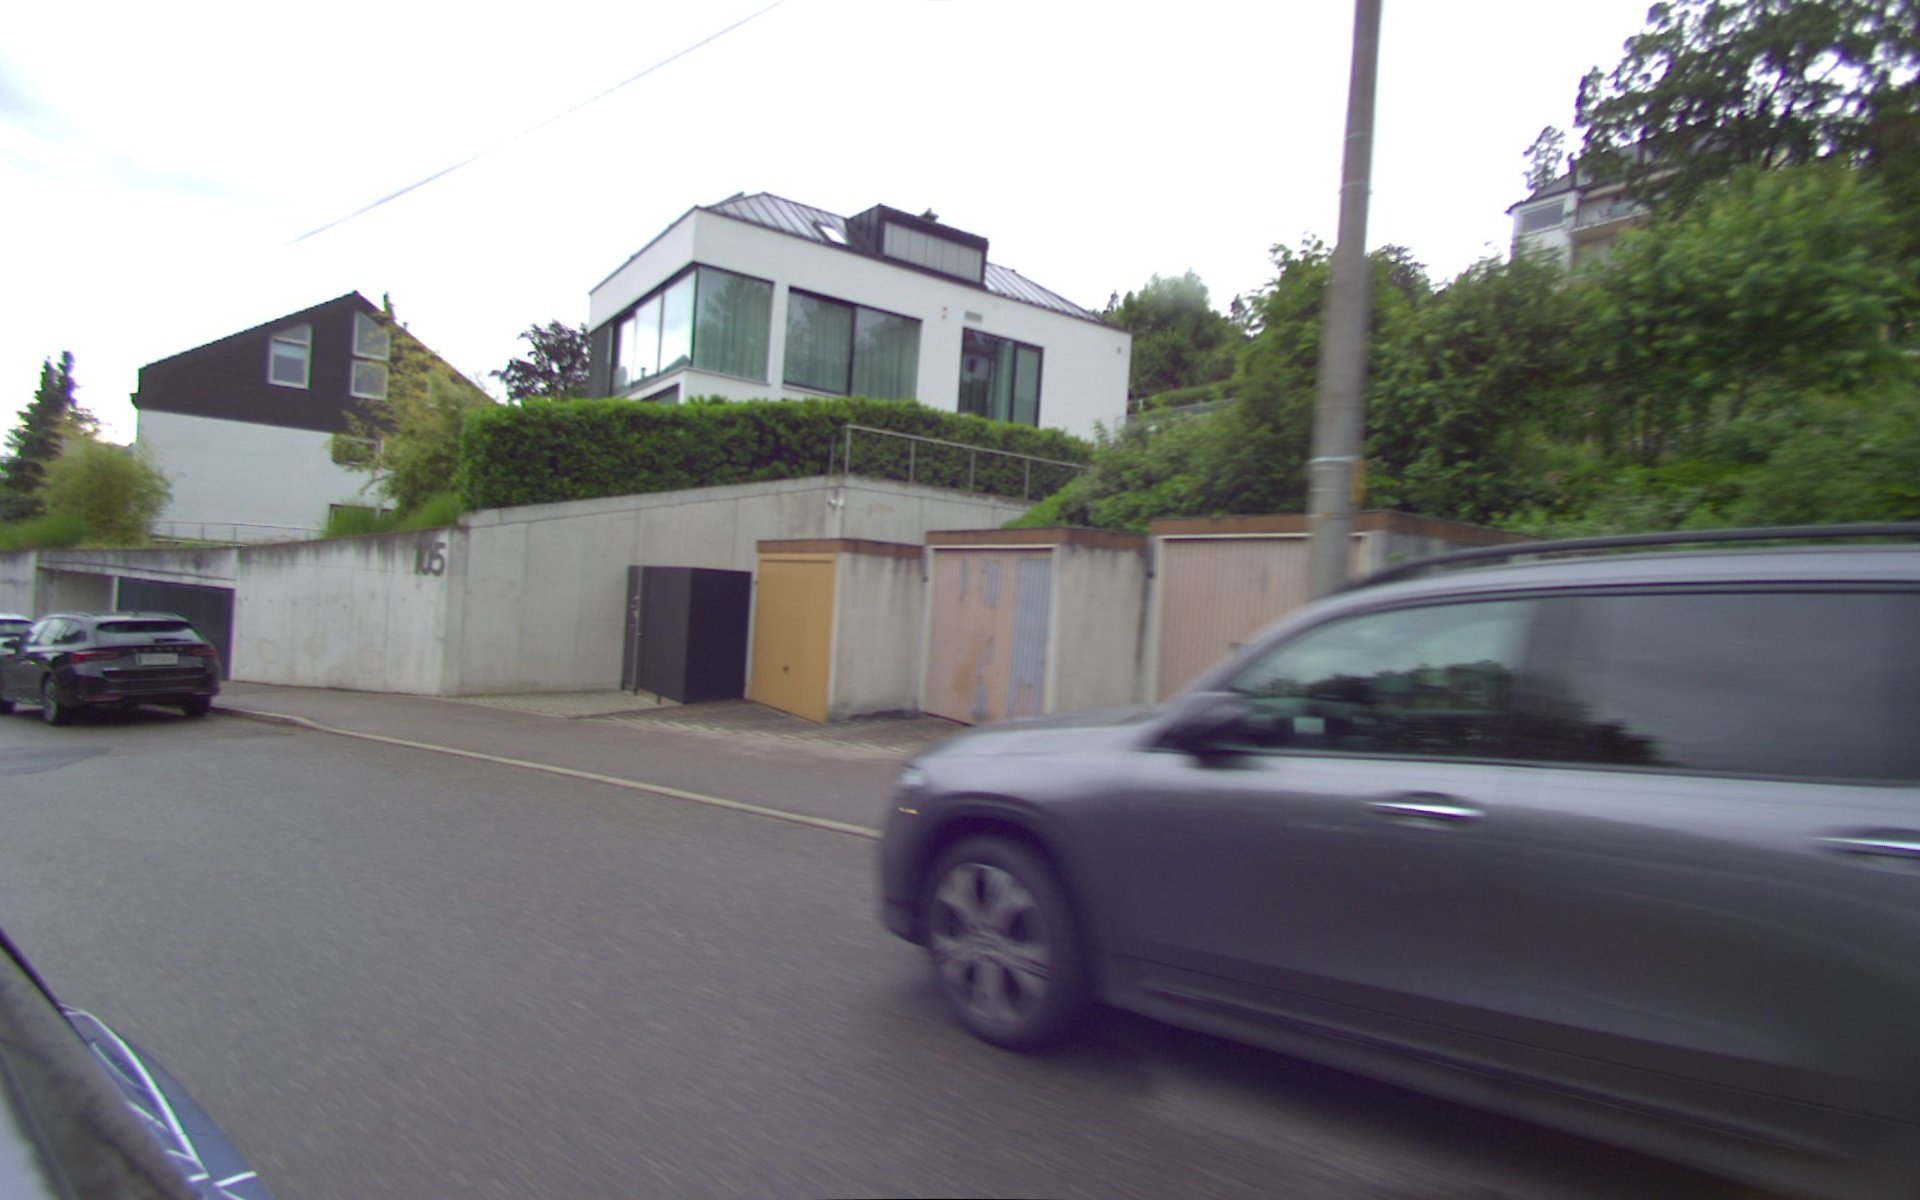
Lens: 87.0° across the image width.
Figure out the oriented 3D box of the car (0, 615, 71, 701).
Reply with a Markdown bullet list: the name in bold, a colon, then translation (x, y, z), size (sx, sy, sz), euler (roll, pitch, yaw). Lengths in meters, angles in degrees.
- **car**: translation (-17.931, 0.987, 18.190), size (4.026, 1.451, 1.819), euler (0, -2, 31)

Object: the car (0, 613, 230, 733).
- **car**: translation (-12.346, 0.921, 14.388), size (4.670, 1.470, 1.698), euler (0, -1, 34)

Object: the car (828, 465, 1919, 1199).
- **car**: translation (1.837, 0.628, 3.134), size (4.541, 1.704, 1.877), euler (-1, -2, 40)
